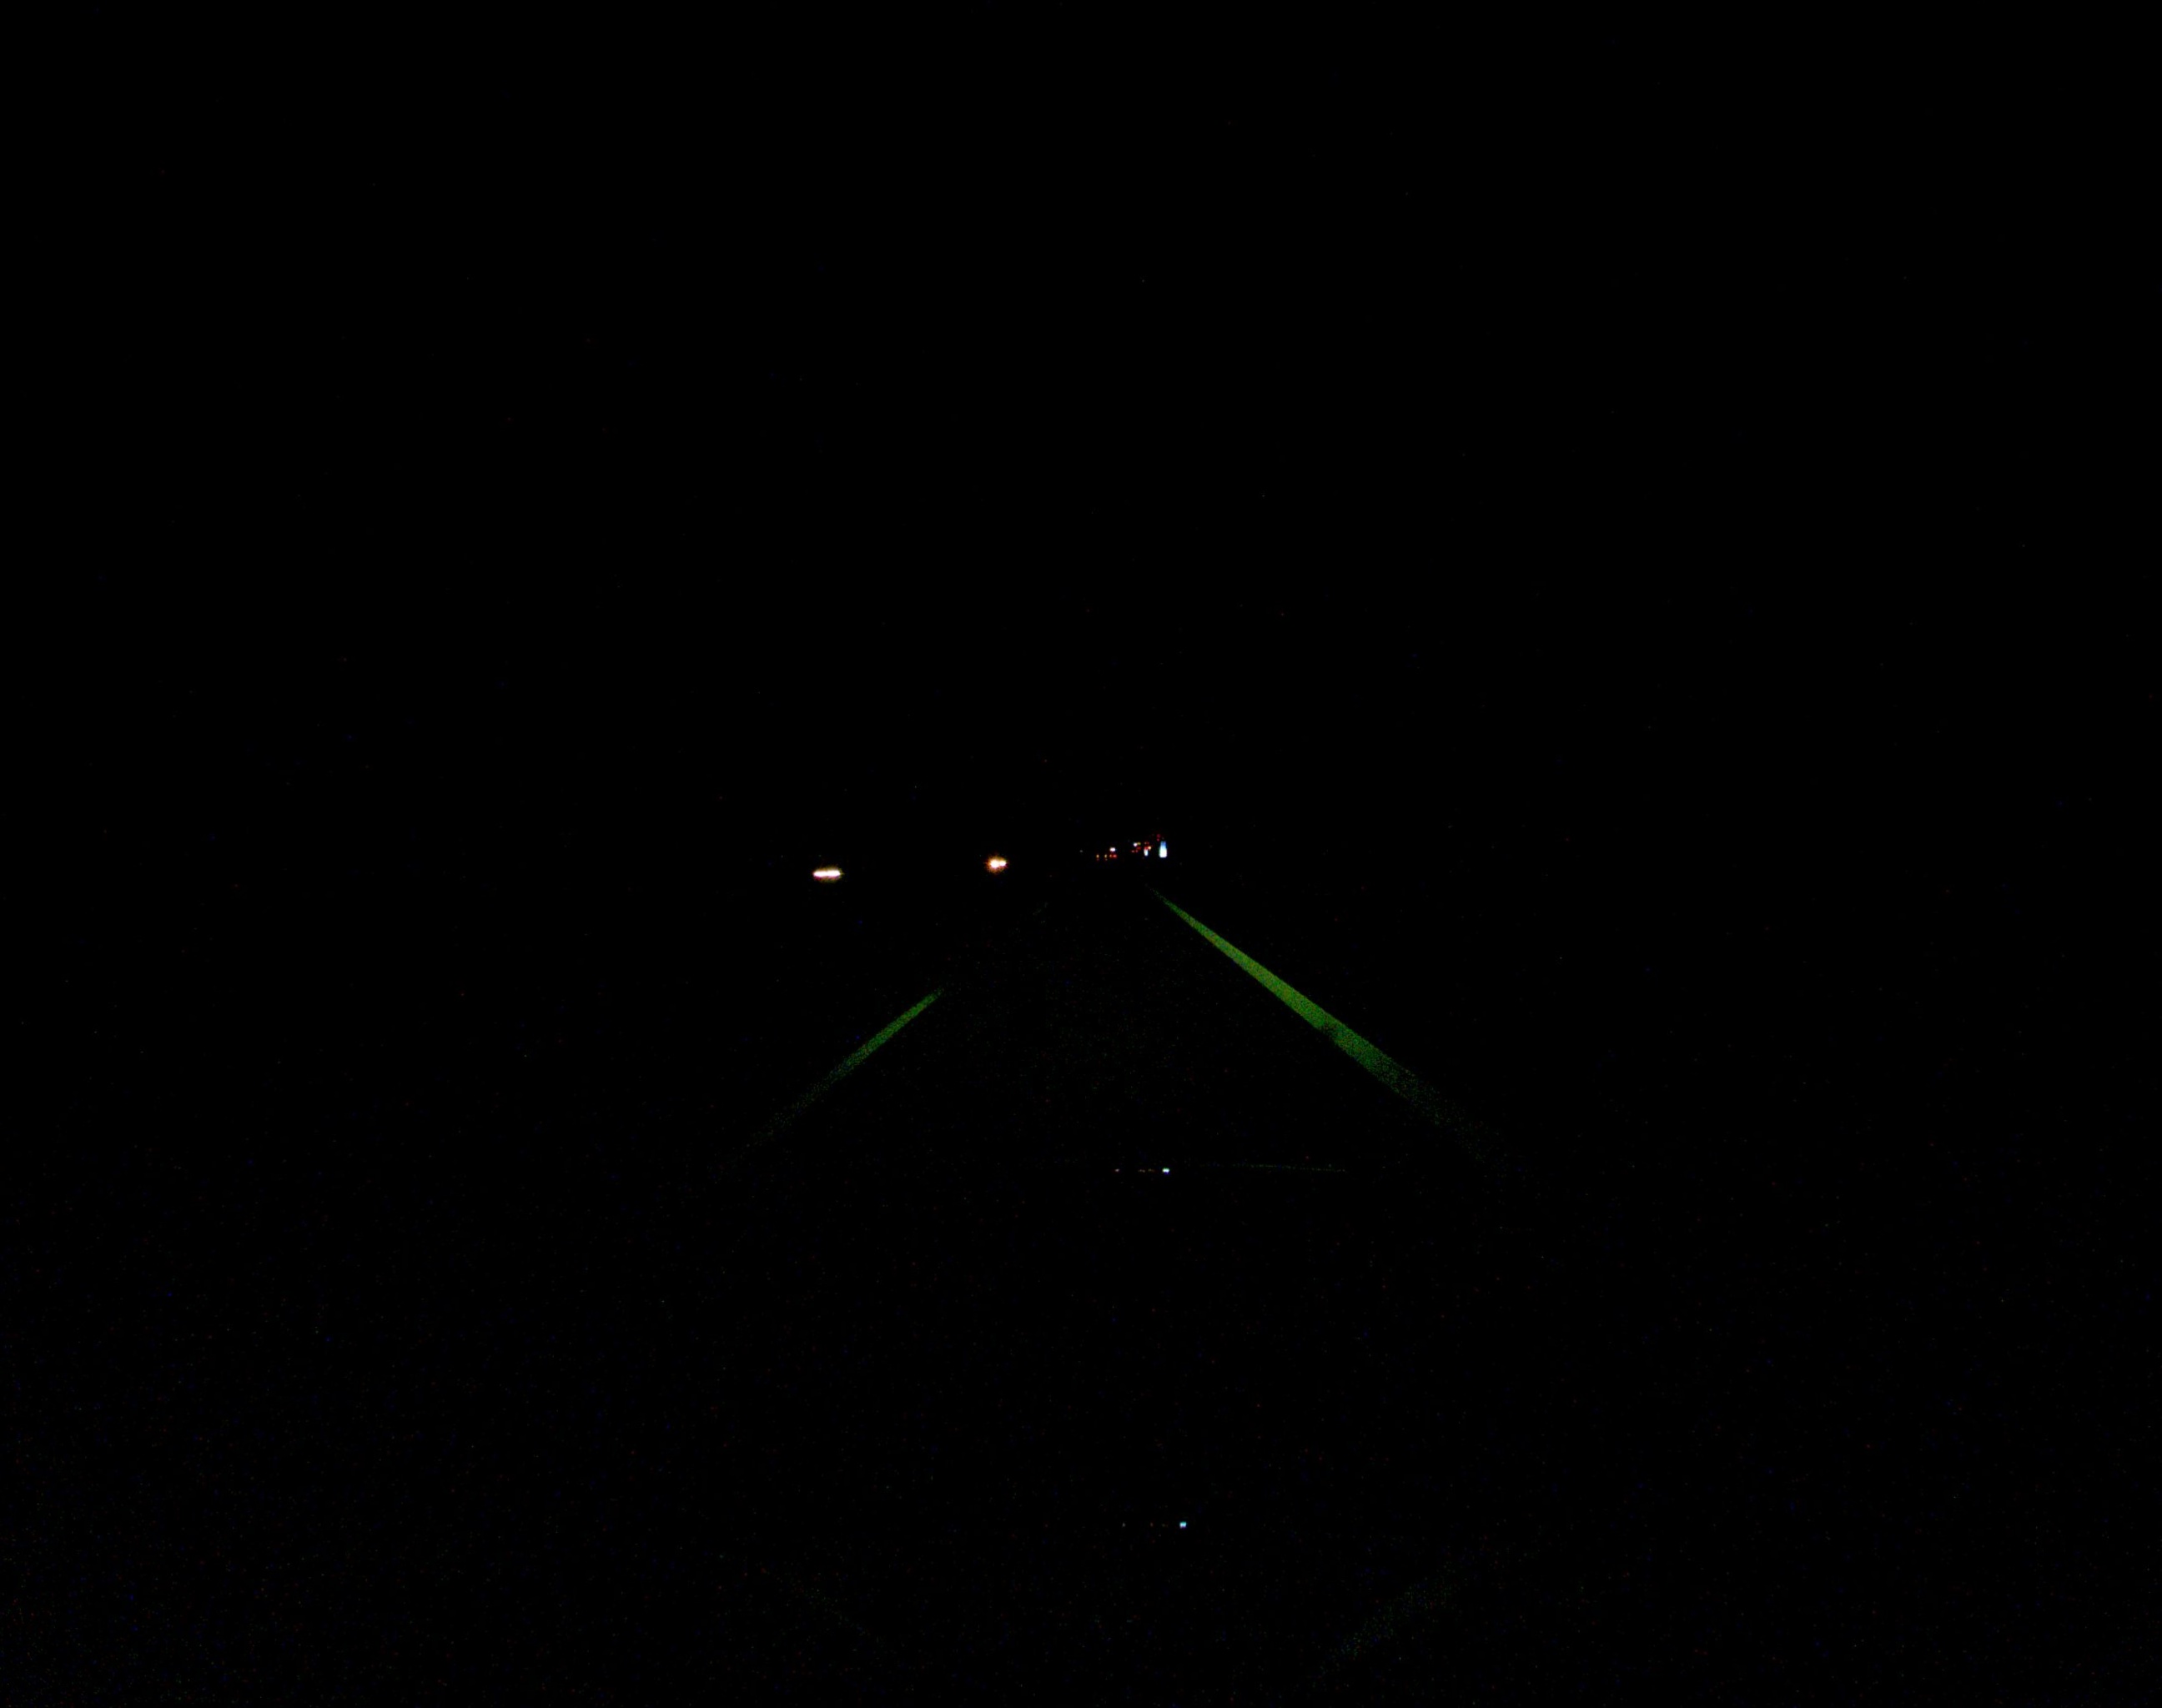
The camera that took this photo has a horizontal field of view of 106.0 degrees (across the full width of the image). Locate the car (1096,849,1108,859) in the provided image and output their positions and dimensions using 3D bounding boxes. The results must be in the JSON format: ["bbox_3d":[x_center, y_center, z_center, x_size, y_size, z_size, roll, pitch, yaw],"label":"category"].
[{"bbox_3d":[4.692,0.051,183.450,2.501,2.314,4.973,-1,0,2],"label":"car"}]

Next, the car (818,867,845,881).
[{"bbox_3d":[-25.831,2.059,84.492,1.587,1.264,3.998,-1,0,-1],"label":"car"}]
